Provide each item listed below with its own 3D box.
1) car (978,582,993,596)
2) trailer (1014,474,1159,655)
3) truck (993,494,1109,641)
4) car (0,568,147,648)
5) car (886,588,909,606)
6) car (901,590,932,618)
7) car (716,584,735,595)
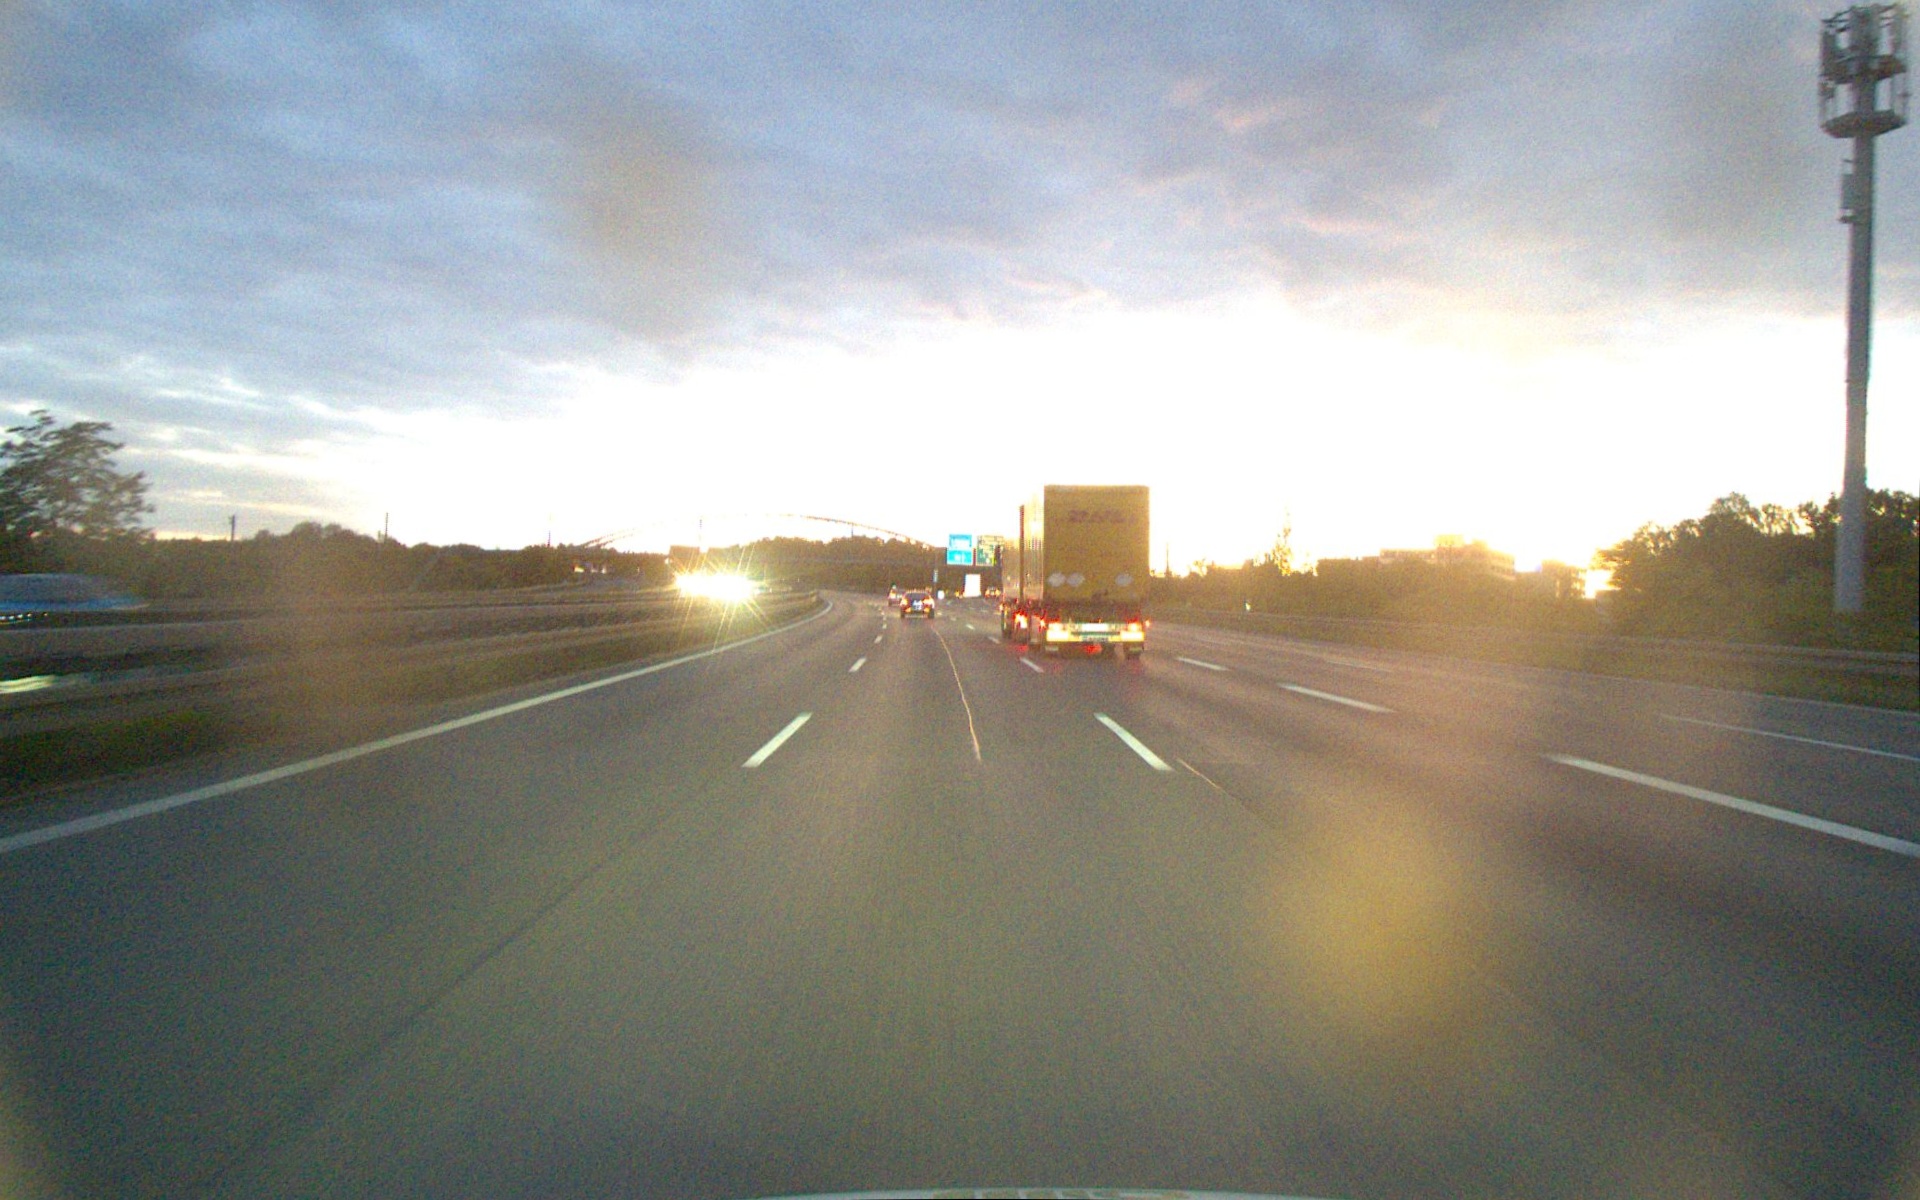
[{"bbox_3d":[3.458,-1.429,225.468,1.952,1.747,4.001,1,-1,2],"label":"car"},{"bbox_3d":[3.074,-0.861,42.611,2.667,4.142,8.827,0,1,-2],"label":"trailer"},{"bbox_3d":[2.682,-0.982,52.278,2.636,4.142,10.515,0,1,-2],"label":"truck"},{"bbox_3d":[-17.204,0.104,30.716,1.953,1.382,4.863,0,1,-2],"label":"car"},{"bbox_3d":[-5.418,-0.257,143.247,1.654,1.426,3.410,0,-1,4],"label":"car"},{"bbox_3d":[-2.396,0.231,90.319,1.655,1.426,3.407,1,-1,-2],"label":"car"},{"bbox_3d":[-25.930,-1.159,183.325,1.687,1.248,4.181,0,1,-3],"label":"car"}]
